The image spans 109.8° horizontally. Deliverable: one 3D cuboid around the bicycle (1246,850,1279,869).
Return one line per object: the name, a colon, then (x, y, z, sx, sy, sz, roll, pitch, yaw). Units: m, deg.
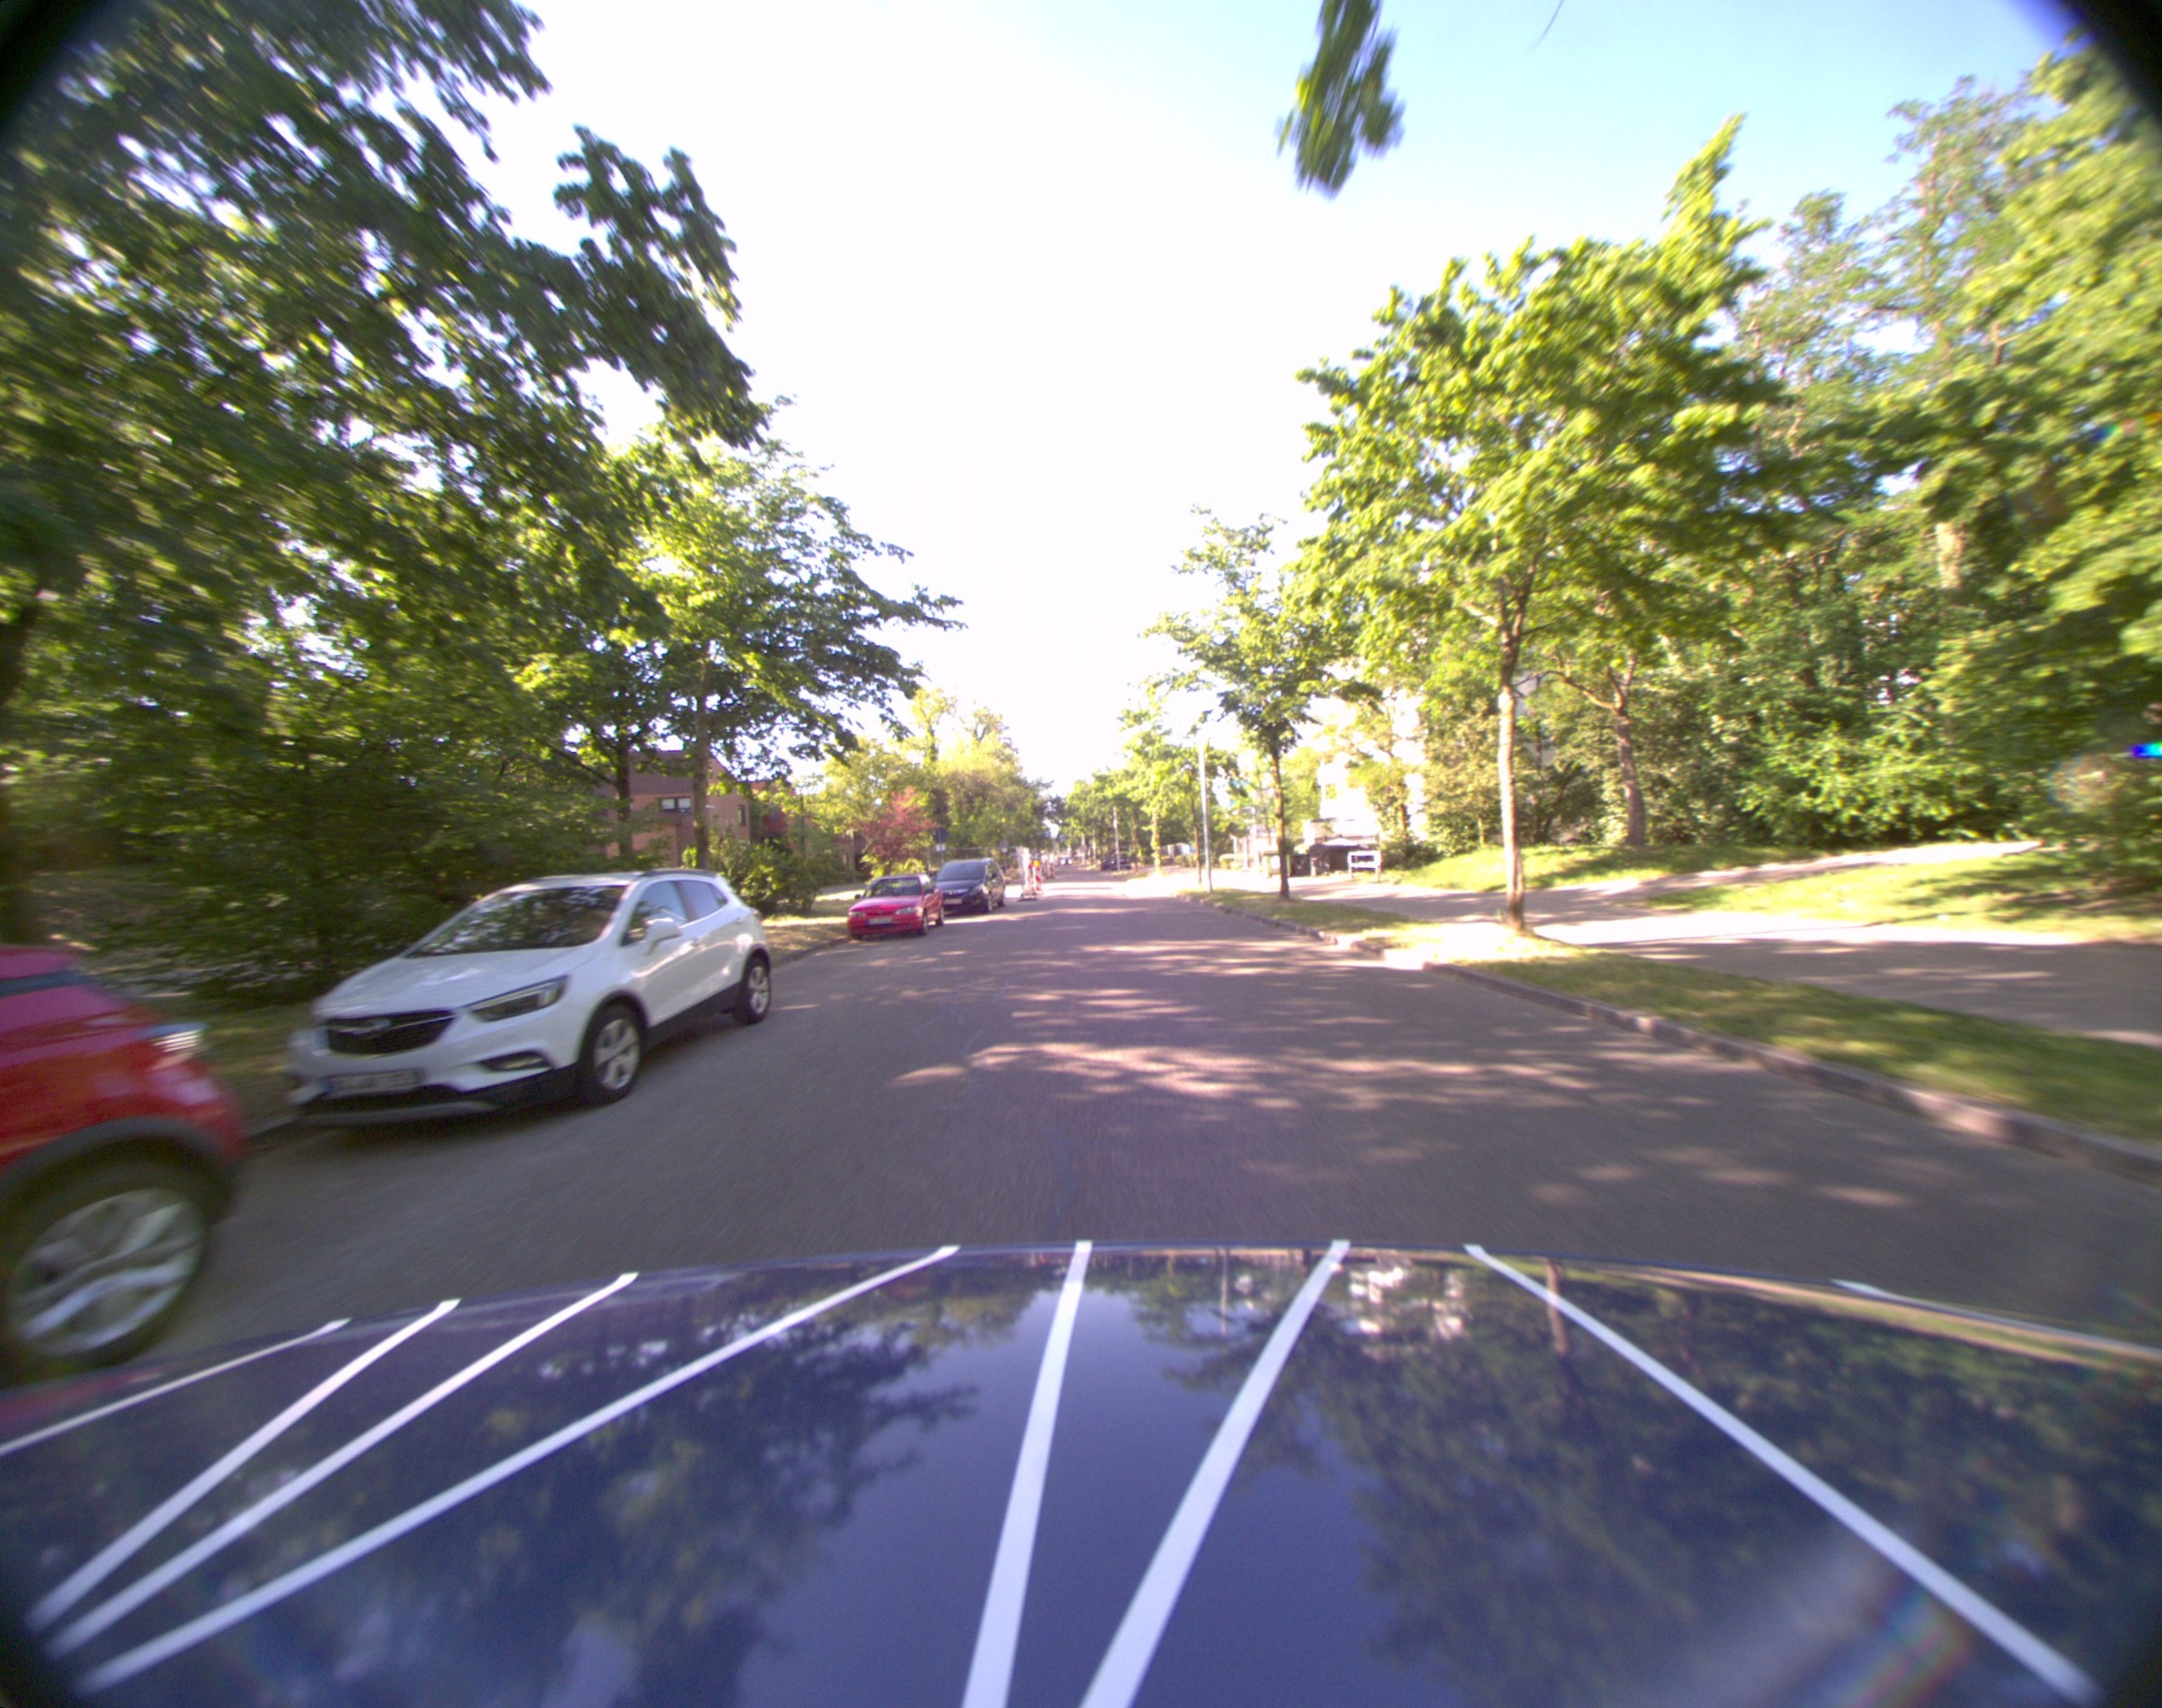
bicycle: (10.548, 0.335, 44.120, 1.862, 1.021, 0.400, -3, 2, -13)

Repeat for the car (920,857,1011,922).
car: (-3.482, 1.021, 23.787, 1.814, 1.641, 4.421, -4, 0, 3)

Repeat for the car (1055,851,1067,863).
car: (-3.304, 0.447, 126.398, 1.999, 1.871, 3.999, -1, 1, 0)

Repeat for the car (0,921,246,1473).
car: (-4.165, 1.134, 0.918, 1.780, 1.612, 4.063, -4, 0, -2)

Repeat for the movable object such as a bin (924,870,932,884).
movable object such as a bin: (-9.676, 1.472, 48.048, 0.426, 0.877, 0.524, -1, 1, -12)

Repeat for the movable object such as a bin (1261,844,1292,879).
movable object such as a bin: (8.545, 0.321, 33.194, 1.271, 1.427, 1.183, -2, 0, 15)

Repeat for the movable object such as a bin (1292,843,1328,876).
movable object such as a bin: (10.343, 0.241, 34.326, 1.270, 1.427, 1.328, -2, 0, 27)

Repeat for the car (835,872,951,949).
car: (-4.249, 1.224, 17.850, 1.666, 1.367, 4.154, -4, 0, -1)

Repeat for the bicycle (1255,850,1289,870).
bicycle: (10.728, 0.342, 42.755, 1.844, 1.021, 0.400, -3, 2, -13)

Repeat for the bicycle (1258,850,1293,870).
bicycle: (10.832, 0.330, 42.292, 1.921, 1.021, 0.400, -3, 2, -13)

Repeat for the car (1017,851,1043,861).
car: (-10.751, 0.394, 160.189, 5.270, 1.993, 1.999, -2, 0, -3)

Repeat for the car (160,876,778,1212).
car: (-4.208, 1.115, 6.272, 1.780, 1.612, 4.063, -4, 0, -2)

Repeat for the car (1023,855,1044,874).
car: (-4.466, 0.971, 72.027, 1.683, 1.612, 4.136, -4, 0, -2)

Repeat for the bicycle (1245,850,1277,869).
bicycle: (10.670, 0.341, 45.064, 1.875, 1.021, 0.400, -3, 2, -13)

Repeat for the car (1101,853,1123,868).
car: (3.110, 0.653, 76.900, 1.721, 1.424, 4.135, -5, 0, -4)

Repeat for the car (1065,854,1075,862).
car: (-2.273, 0.829, 156.570, 1.664, 1.587, 4.006, -1, 0, -5)

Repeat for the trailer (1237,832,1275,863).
trailer: (12.892, -0.472, 56.214, 1.868, 2.108, 4.346, -4, 0, 3)

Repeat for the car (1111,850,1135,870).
car: (3.846, 0.535, 70.334, 1.780, 1.612, 4.220, -5, 0, -1)

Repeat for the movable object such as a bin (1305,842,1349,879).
movable object such as a bin: (10.179, 0.270, 31.471, 1.147, 1.427, 1.270, -3, 1, -34)

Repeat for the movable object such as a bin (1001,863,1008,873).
movable object such as a bin: (-6.763, 1.231, 67.116, 0.485, 0.856, 0.559, -3, 1, -4)

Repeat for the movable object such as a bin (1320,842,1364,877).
movable object such as a bin: (11.078, 0.248, 32.289, 1.147, 1.427, 1.270, -3, 1, -34)

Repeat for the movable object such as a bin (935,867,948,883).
movable object such as a bin: (-8.848, 1.334, 48.276, 0.696, 0.923, 0.695, -1, 1, 0)
